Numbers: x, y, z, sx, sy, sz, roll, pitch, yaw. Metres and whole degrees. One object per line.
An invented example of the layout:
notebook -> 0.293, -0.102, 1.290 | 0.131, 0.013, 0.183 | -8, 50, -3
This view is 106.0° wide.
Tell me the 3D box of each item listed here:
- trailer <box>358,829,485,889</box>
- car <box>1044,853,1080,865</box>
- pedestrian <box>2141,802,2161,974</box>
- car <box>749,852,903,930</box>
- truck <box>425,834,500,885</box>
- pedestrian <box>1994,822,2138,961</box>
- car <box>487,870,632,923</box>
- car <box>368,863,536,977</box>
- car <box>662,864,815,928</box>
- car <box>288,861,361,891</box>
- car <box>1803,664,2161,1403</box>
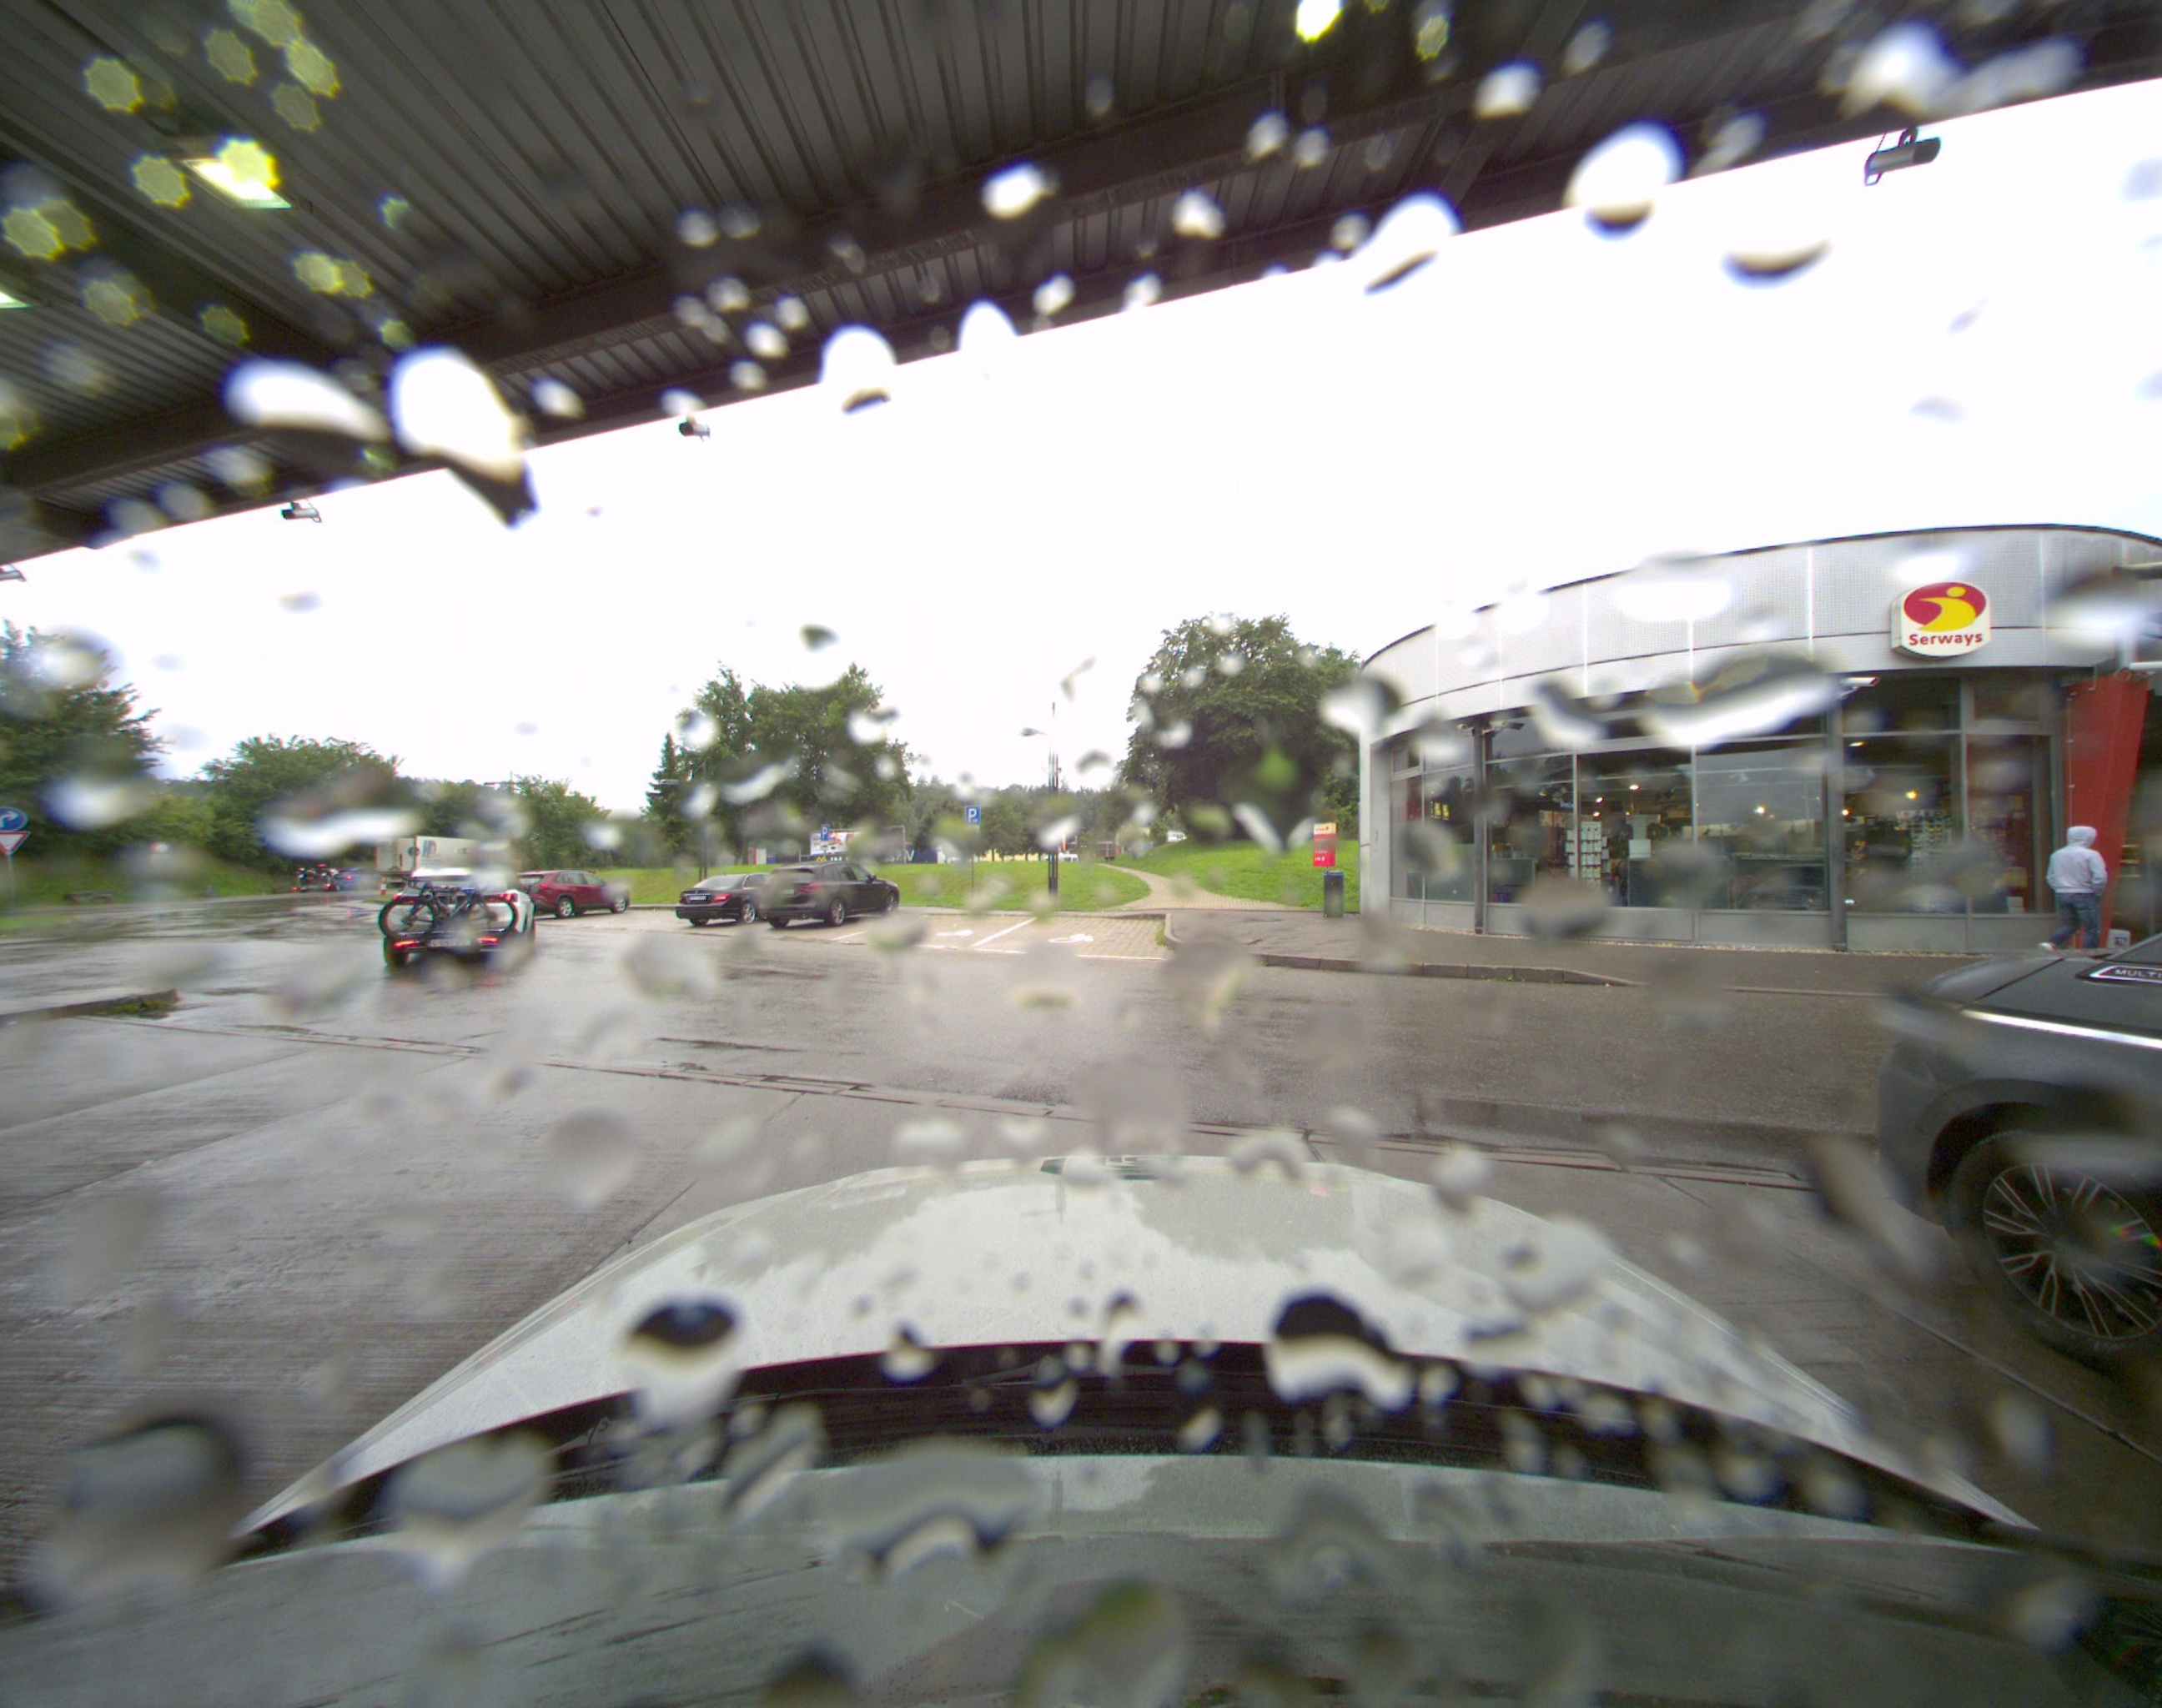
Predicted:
trailer -> -54.885, 0.436, 68.467 | 3.466, 4.557, 13.827 | 0, -1, -18
car -> -3.180, 0.811, 134.064 | 5.376, 2.013, 2.468 | -1, 0, 21
pedestrian -> 11.978, 0.354, 8.435 | 0.963, 1.848, 0.778 | -2, 0, 30
car -> -6.615, 0.891, 21.727 | 1.871, 1.828, 4.429 | -2, 0, 13
truck -> -57.108, 0.510, 75.407 | 3.467, 4.557, 6.694 | 0, -1, -18
pedestrian -> 11.575, 0.427, 9.607 | 0.880, 1.550, 0.665 | -2, 0, 31
car -> -18.142, 1.421, 28.613 | 1.873, 1.596, 4.364 | -2, 0, 8
car -> -10.541, 0.955, 13.992 | 1.827, 1.565, 4.953 | 0, 0, -32
car -> -9.616, 1.141, 23.284 | 1.871, 1.565, 4.200 | -2, 0, 13
car -> -49.237, 1.388, 53.111 | 1.934, 1.838, 4.361 | -1, 0, -20
car -> 3.718, 0.466, 1.217 | 1.809, 1.948, 4.002 | -1, 0, 2
